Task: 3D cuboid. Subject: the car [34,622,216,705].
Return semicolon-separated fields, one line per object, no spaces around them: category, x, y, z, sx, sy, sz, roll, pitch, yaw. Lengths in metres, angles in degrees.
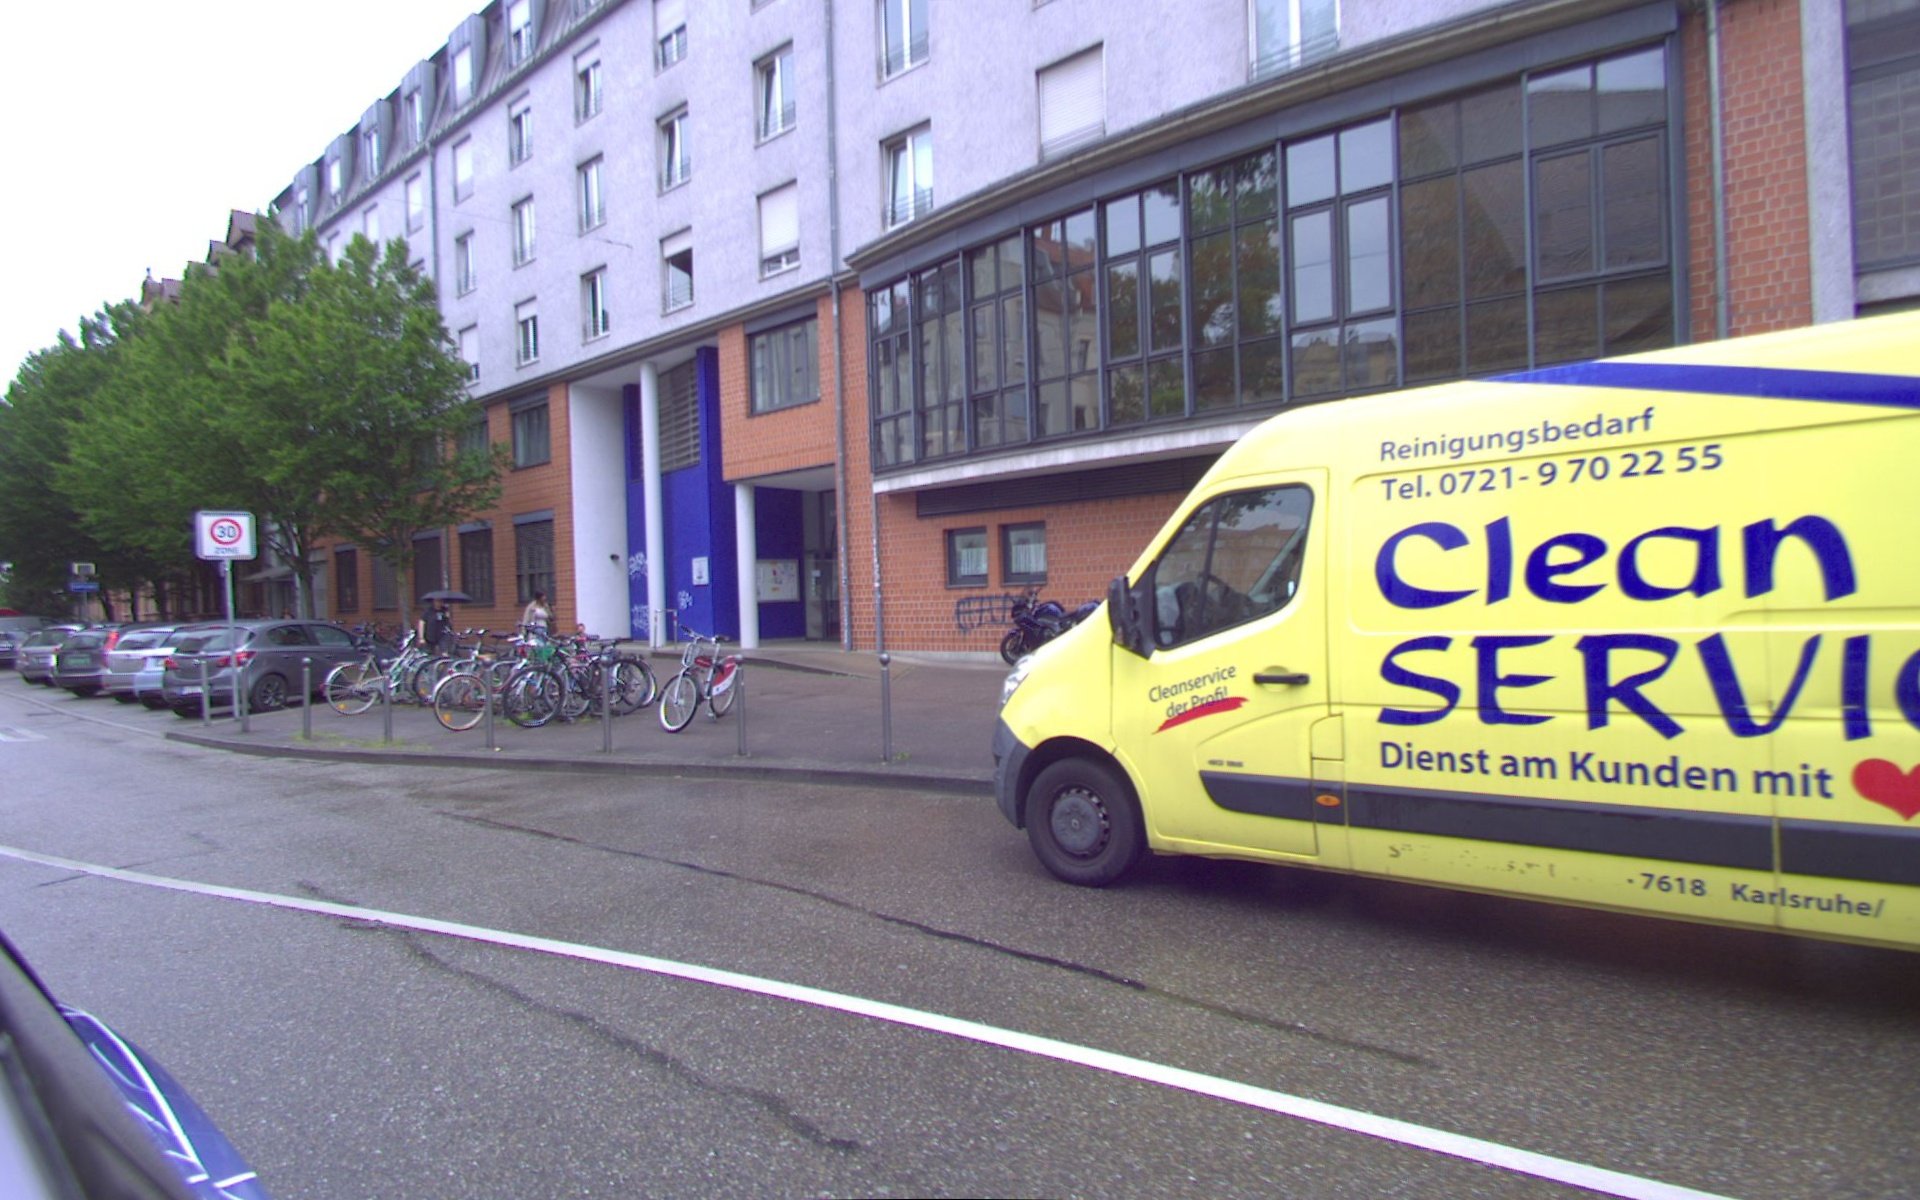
car;-18.301;1.344;22.350;1.432;1.564;3.078;-3;0;1

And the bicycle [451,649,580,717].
bicycle;-6.260;1.151;14.357;0.455;0.767;1.756;-2;1;28

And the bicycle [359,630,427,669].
bicycle;-15.391;1.330;27.500;0.444;0.992;1.573;-2;-1;33

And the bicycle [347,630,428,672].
bicycle;-14.950;1.315;26.455;0.444;0.992;1.830;-2;-1;33

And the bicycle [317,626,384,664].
bicycle;-17.155;1.246;28.511;0.444;0.992;1.573;-2;-1;33

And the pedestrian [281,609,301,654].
pedestrian;-24.677;1.157;37.324;0.425;1.622;0.508;-2;-1;42

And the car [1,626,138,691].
car;-24.594;1.590;28.054;1.138;1.567;2.672;-3;0;12

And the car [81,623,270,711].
car;-15.911;1.296;20.705;1.432;1.514;3.078;-3;0;1

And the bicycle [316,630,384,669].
bicycle;-16.824;1.351;27.938;0.444;0.992;1.573;-2;-1;33

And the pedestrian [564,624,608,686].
pedestrian;-6.834;1.004;18.492;0.527;1.058;0.479;-2;3;40

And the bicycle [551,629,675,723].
bicycle;-4.454;0.950;13.053;0.418;1.072;1.442;-2;1;45

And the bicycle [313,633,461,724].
bicycle;-8.285;1.103;14.702;0.472;1.114;1.791;-2;1;36

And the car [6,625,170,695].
car;-22.515;1.510;26.246;1.358;1.567;2.970;-3;0;12

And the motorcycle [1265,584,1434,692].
motorcycle;4.671;0.434;12.307;0.516;1.190;2.010;-3;0;-29

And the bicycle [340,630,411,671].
bicycle;-15.387;1.323;26.673;0.444;0.992;1.573;-2;-1;33

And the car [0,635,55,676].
car;-37.357;2.166;39.184;1.663;1.502;3.798;-1;-1;-9

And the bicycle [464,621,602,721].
bicycle;-5.837;0.937;13.952;0.518;1.203;1.797;-2;1;28

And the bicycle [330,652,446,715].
bicycle;-8.865;1.269;15.727;0.498;0.811;1.454;-2;1;44

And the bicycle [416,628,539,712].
bicycle;-7.234;1.025;15.236;0.519;1.114;1.591;-2;1;36

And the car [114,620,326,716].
car;-13.837;1.217;19.118;1.436;1.514;3.069;-3;0;10

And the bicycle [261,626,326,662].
bicycle;-20.031;1.306;30.442;0.464;0.992;1.573;-2;-1;33

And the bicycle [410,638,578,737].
bicycle;-5.592;1.016;12.244;0.519;1.000;1.778;-2;1;39

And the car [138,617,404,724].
car;-11.547;1.118;17.267;1.721;1.514;3.613;-1;1;10

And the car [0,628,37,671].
car;-43.151;2.203;44.325;1.554;1.846;4.329;-1;-1;0

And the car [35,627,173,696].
car;-20.671;1.447;24.546;1.177;1.461;2.501;-3;0;1

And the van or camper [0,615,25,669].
van or camper;-47.715;2.049;48.066;1.985;2.632;4.576;-2;-1;14

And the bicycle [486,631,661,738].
bicycle;-4.592;0.966;12.123;1.832;1.081;0.610;-3;1;-44

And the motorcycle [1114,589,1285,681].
motorcycle;3.281;0.482;14.023;2.203;1.165;0.643;-2;0;40

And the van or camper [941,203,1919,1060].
van or camper;2.883;0.123;4.578;5.937;2.631;2.174;-2;-1;40

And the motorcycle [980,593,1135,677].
motorcycle;1.449;0.526;15.435;2.273;1.165;0.827;-2;0;43

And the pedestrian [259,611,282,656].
pedestrian;-25.126;1.214;36.863;0.372;1.622;0.598;-2;-1;40

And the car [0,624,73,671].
car;-40.086;1.995;42.645;1.666;1.910;4.329;-1;-1;0

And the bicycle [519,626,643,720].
bicycle;-5.054;0.948;13.541;1.439;1.111;0.462;-3;1;-35

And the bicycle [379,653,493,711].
bicycle;-8.091;1.254;15.663;0.498;0.727;1.454;-2;1;44

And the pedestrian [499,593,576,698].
pedestrian;-7.389;0.780;17.691;0.859;1.719;0.817;-2;3;42

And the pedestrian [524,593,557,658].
pedestrian;-10.170;0.616;24.528;0.547;1.541;0.509;-2;-1;38

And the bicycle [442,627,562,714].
bicycle;-6.692;1.004;14.868;0.518;1.114;1.596;-2;1;28

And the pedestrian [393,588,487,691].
pedestrian;-10.474;0.779;20.398;1.055;1.894;1.213;-2;3;41

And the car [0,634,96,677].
car;-34.870;2.063;38.217;1.663;1.502;3.798;-1;-1;-9

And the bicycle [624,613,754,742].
bicycle;-3.046;0.834;11.600;0.760;1.225;1.917;-1;3;6
